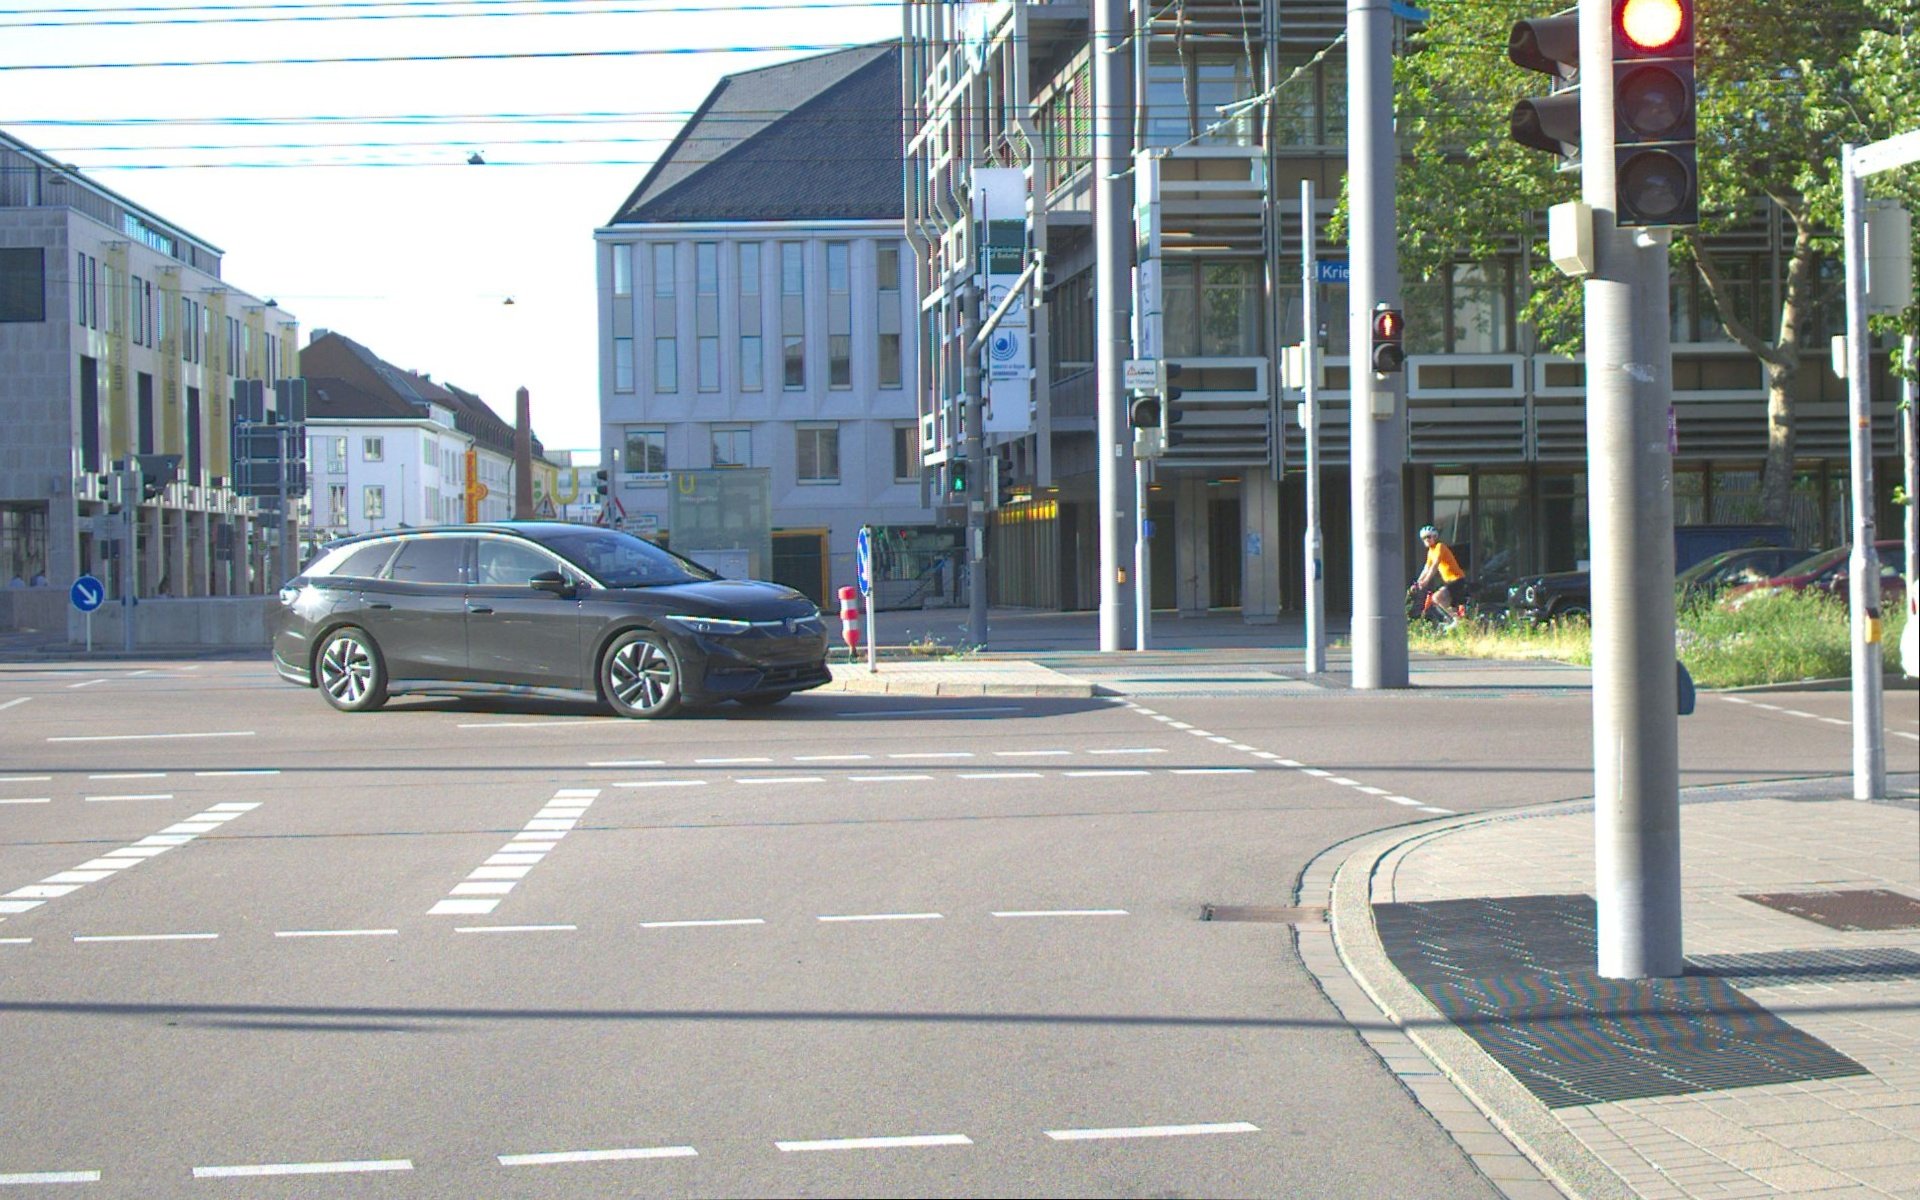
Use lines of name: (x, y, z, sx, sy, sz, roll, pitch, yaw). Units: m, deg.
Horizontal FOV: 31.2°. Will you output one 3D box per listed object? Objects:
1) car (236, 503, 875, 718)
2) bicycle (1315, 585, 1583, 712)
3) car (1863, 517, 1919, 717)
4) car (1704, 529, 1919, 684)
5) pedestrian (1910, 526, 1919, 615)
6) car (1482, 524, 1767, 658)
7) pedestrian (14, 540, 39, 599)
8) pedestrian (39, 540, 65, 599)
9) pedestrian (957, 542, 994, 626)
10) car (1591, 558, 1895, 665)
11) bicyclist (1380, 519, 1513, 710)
car: (-3.342, 0.065, 28.134, 4.946, 1.596, 1.997, 0, 2, 30)
bicycle: (6.700, 0.649, 47.140, 3.490, 1.653, 0.932, -1, 1, -9)
car: (9.595, 0.089, 26.479, 4.686, 1.522, 2.000, -1, 1, -4)
car: (12.294, 0.087, 46.403, 3.986, 2.007, 2.000, 1, 0, -3)
pedestrian: (17.339, -0.528, 61.416, 0.540, 1.585, 0.586, -1, 1, -3)
car: (10.352, -0.144, 53.771, 3.986, 2.007, 2.000, 1, 0, -3)
pedestrian: (-31.868, -1.045, 117.353, 0.626, 2.007, 0.733, -1, 1, 2)
pedestrian: (-30.992, -1.033, 117.324, 0.626, 2.007, 0.733, -1, 1, 2)
pedestrian: (0.309, -0.323, 68.938, 0.663, 1.652, 0.755, -1, 1, -3)
car: (11.501, 0.157, 50.654, 3.986, 1.503, 1.868, 0, 1, -3)
bicyclist: (6.669, 0.189, 47.133, 1.567, 2.571, 0.932, -1, 1, -9)
